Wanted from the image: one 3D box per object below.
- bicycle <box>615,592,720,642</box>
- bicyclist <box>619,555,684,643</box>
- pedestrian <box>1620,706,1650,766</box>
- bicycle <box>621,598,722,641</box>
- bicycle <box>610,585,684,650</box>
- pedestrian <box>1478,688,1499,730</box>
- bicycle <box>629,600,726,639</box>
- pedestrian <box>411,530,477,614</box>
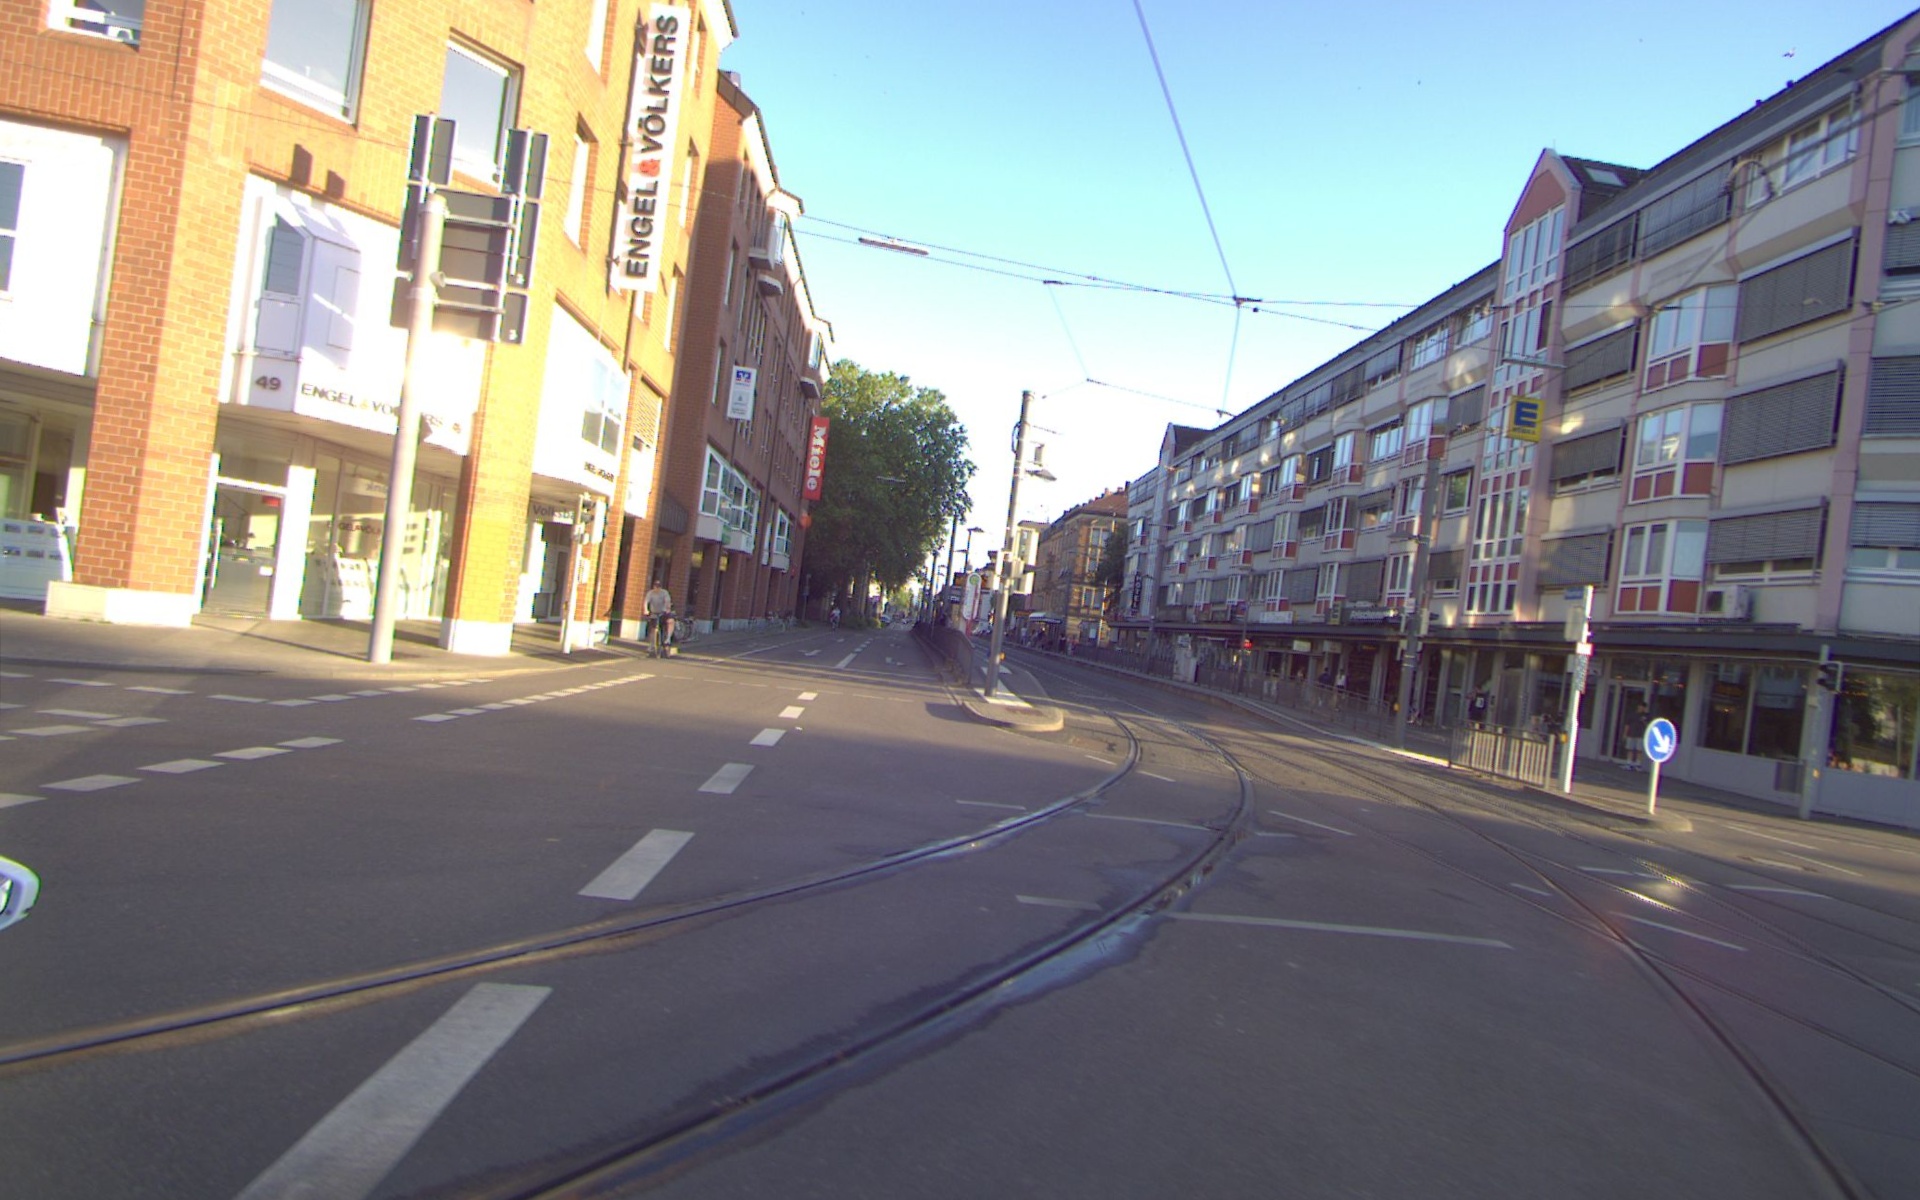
[{"bbox_3d":[-8.376,0.485,28.907,2.689,1.116,0.812,7,-1,-3],"label":"bicycle"},{"bbox_3d":[-7.371,-0.012,24.099,0.997,1.882,1.233,10,-1,-7],"label":"bicyclist"},{"bbox_3d":[17.808,3.583,26.562,0.469,1.511,0.471,7,0,30],"label":"pedestrian"},{"bbox_3d":[-8.531,0.577,29.839,2.689,0.983,0.812,6,-2,-4],"label":"bicycle"},{"bbox_3d":[-7.445,0.422,24.076,1.001,1.306,2.794,10,-2,-7],"label":"bicycle"},{"bbox_3d":[16.907,3.488,32.169,0.469,1.262,0.471,7,0,30],"label":"pedestrian"},{"bbox_3d":[-8.666,0.597,30.971,2.691,0.874,0.812,7,-1,-7],"label":"bicycle"},{"bbox_3d":[-11.703,-0.615,22.846,0.799,1.772,0.930,9,0,-2],"label":"pedestrian"}]
